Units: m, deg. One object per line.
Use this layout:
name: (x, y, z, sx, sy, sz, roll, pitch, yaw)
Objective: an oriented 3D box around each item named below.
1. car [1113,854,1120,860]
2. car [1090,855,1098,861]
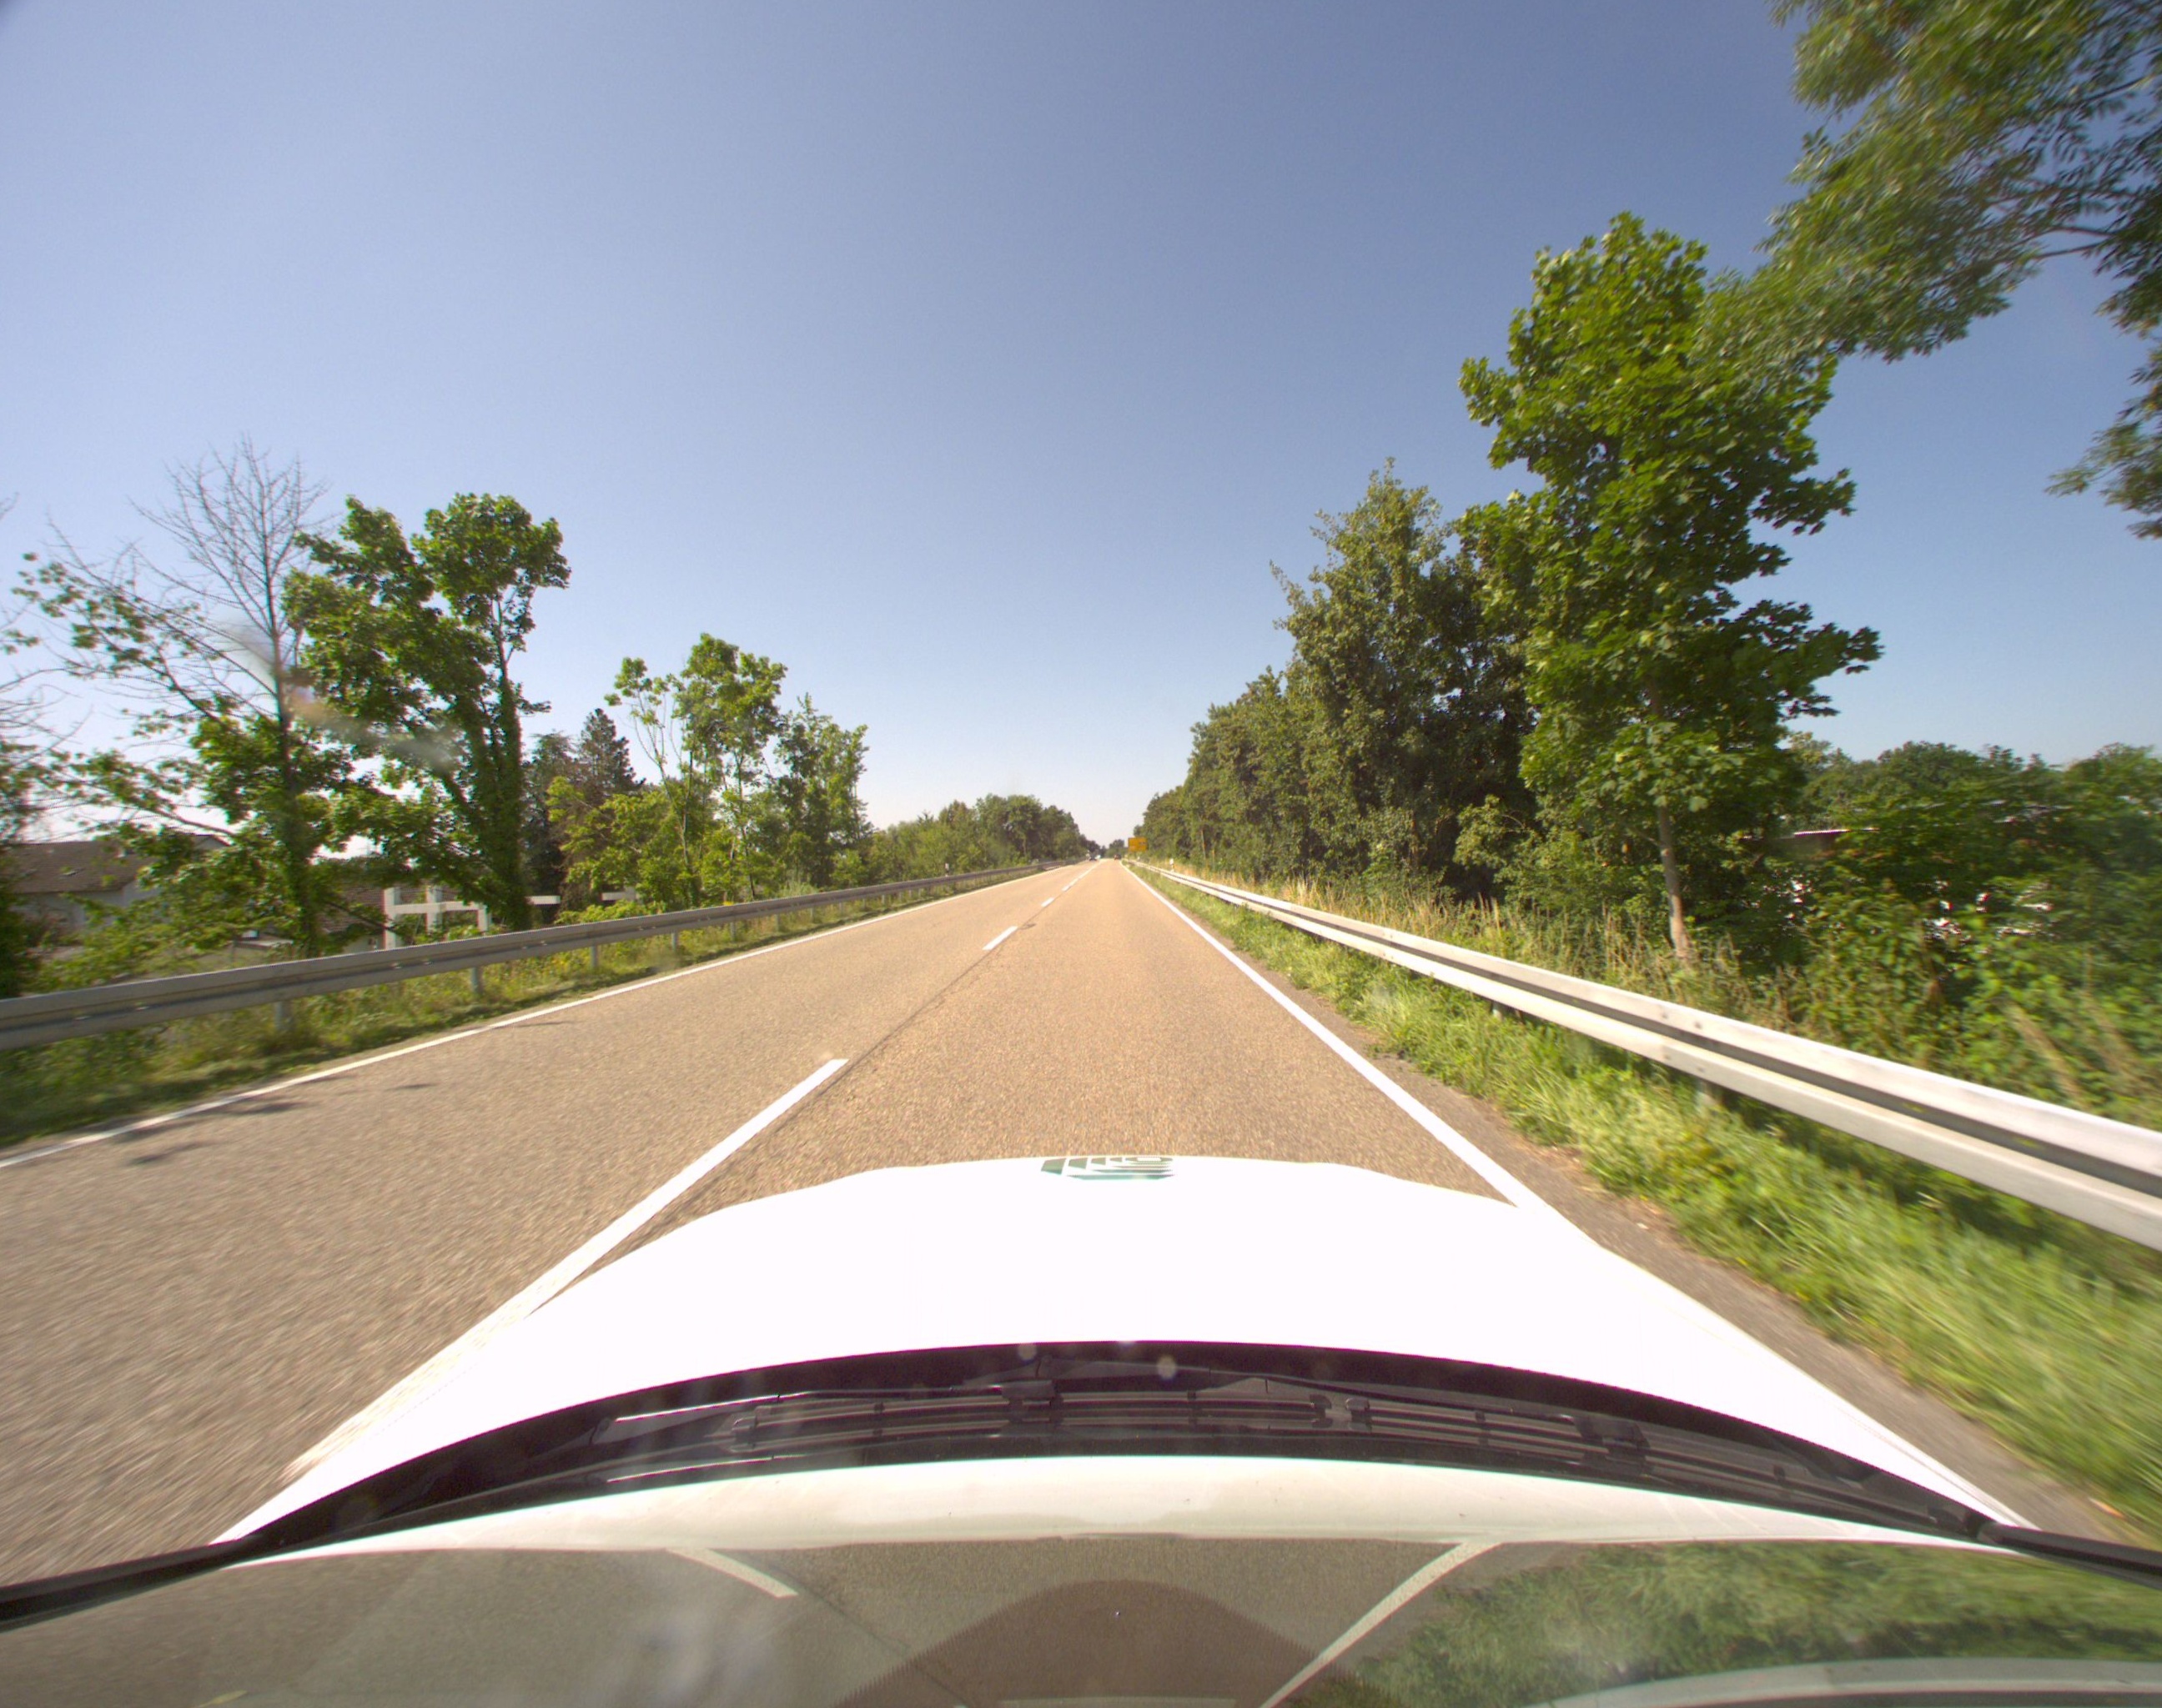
car: (9.432, 0.806, 213.841, 1.734, 1.470, 3.695, -1, 0, 3)
car: (3.226, 0.915, 201.154, 1.739, 1.425, 4.680, -1, 0, 2)
